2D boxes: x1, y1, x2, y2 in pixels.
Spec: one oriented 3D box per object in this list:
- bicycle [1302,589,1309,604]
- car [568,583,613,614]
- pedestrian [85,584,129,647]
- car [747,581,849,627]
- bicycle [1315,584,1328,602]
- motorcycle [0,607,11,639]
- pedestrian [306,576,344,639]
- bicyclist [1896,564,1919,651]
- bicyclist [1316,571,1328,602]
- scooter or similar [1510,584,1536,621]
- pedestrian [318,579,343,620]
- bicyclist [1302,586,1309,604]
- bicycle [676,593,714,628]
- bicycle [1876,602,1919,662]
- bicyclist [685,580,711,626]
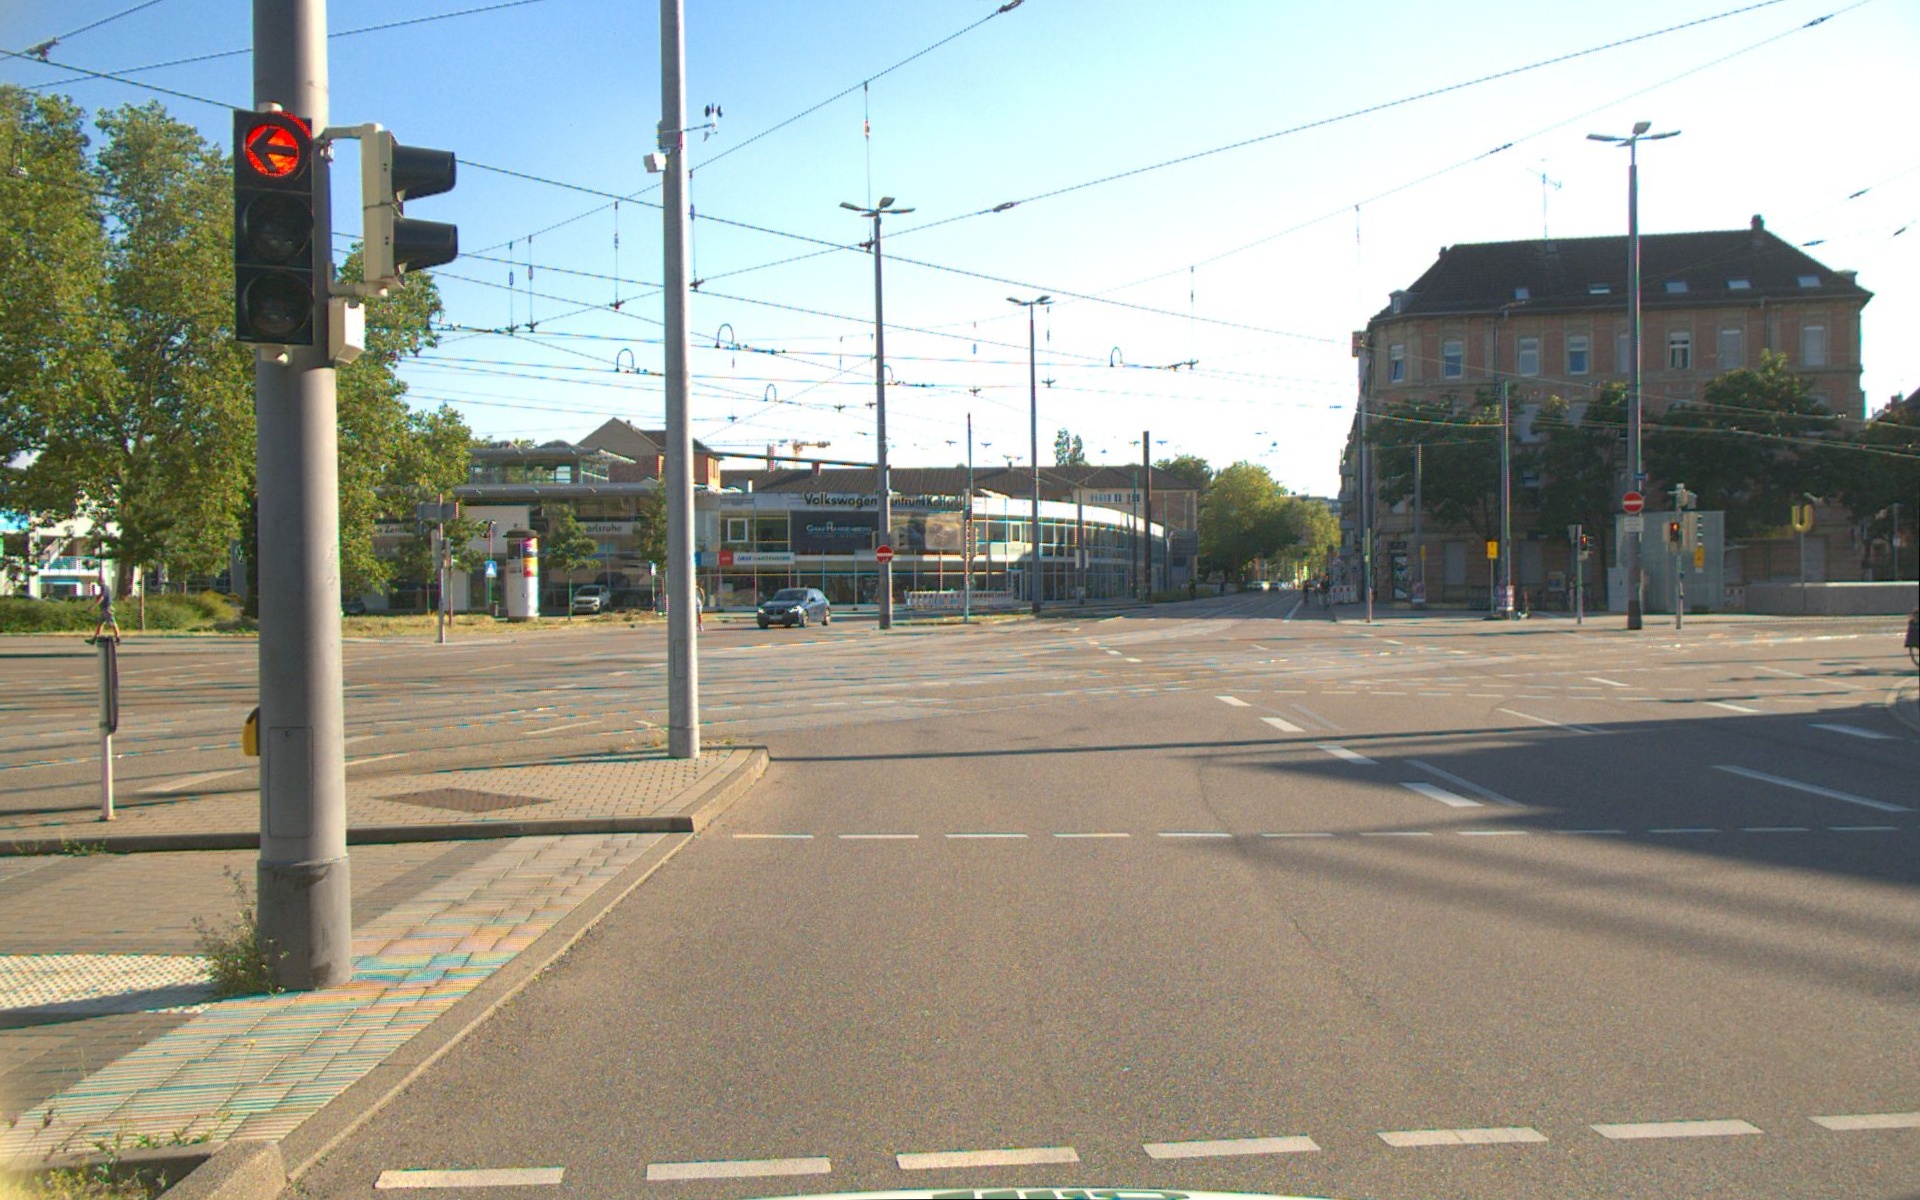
[{"bbox_3d":[21.538,-0.208,103.091,0.401,0.958,1.847,1,0,12],"label":"bicycle"},{"bbox_3d":[-22.070,-0.066,98.912,1.954,1.780,3.997,1,0,-4],"label":"car"},{"bbox_3d":[-23.936,0.426,46.411,0.777,1.736,0.759,1,-1,6],"label":"pedestrian"},{"bbox_3d":[-5.995,0.159,61.582,1.954,1.613,3.996,1,0,26],"label":"car"},{"bbox_3d":[19.839,-0.378,90.698,0.643,0.969,1.601,1,0,14],"label":"bicycle"},{"bbox_3d":[-28.918,0.663,48.513,1.748,0.930,0.675,1,0,-21],"label":"motorcycle"},{"bbox_3d":[-19.424,0.225,50.601,0.777,1.919,0.759,1,-1,6],"label":"pedestrian"},{"bbox_3d":[17.695,0.141,30.264,0.505,1.584,0.945,1,0,-9],"label":"bicyclist"},{"bbox_3d":[19.854,-0.741,90.767,0.508,1.730,0.516,1,-1,2],"label":"bicyclist"},{"bbox_3d":[21.594,0.092,63.471,0.769,1.400,1.910,1,0,13],"label":"scooter or similar"},{"bbox_3d":[-26.828,-0.008,70.481,0.839,1.723,0.496,1,-1,-3],"label":"pedestrian"},{"bbox_3d":[21.509,-0.300,102.975,0.399,1.136,0.399,1,-1,11],"label":"bicyclist"},{"bbox_3d":[-9.524,0.375,59.480,0.599,1.210,1.870,1,0,17],"label":"bicycle"},{"bbox_3d":[17.719,0.607,30.090,0.524,1.067,2.316,1,1,-9],"label":"bicycle"},{"bbox_3d":[-9.461,0.096,59.700,0.585,1.644,0.823,1,-1,17],"label":"bicyclist"}]
